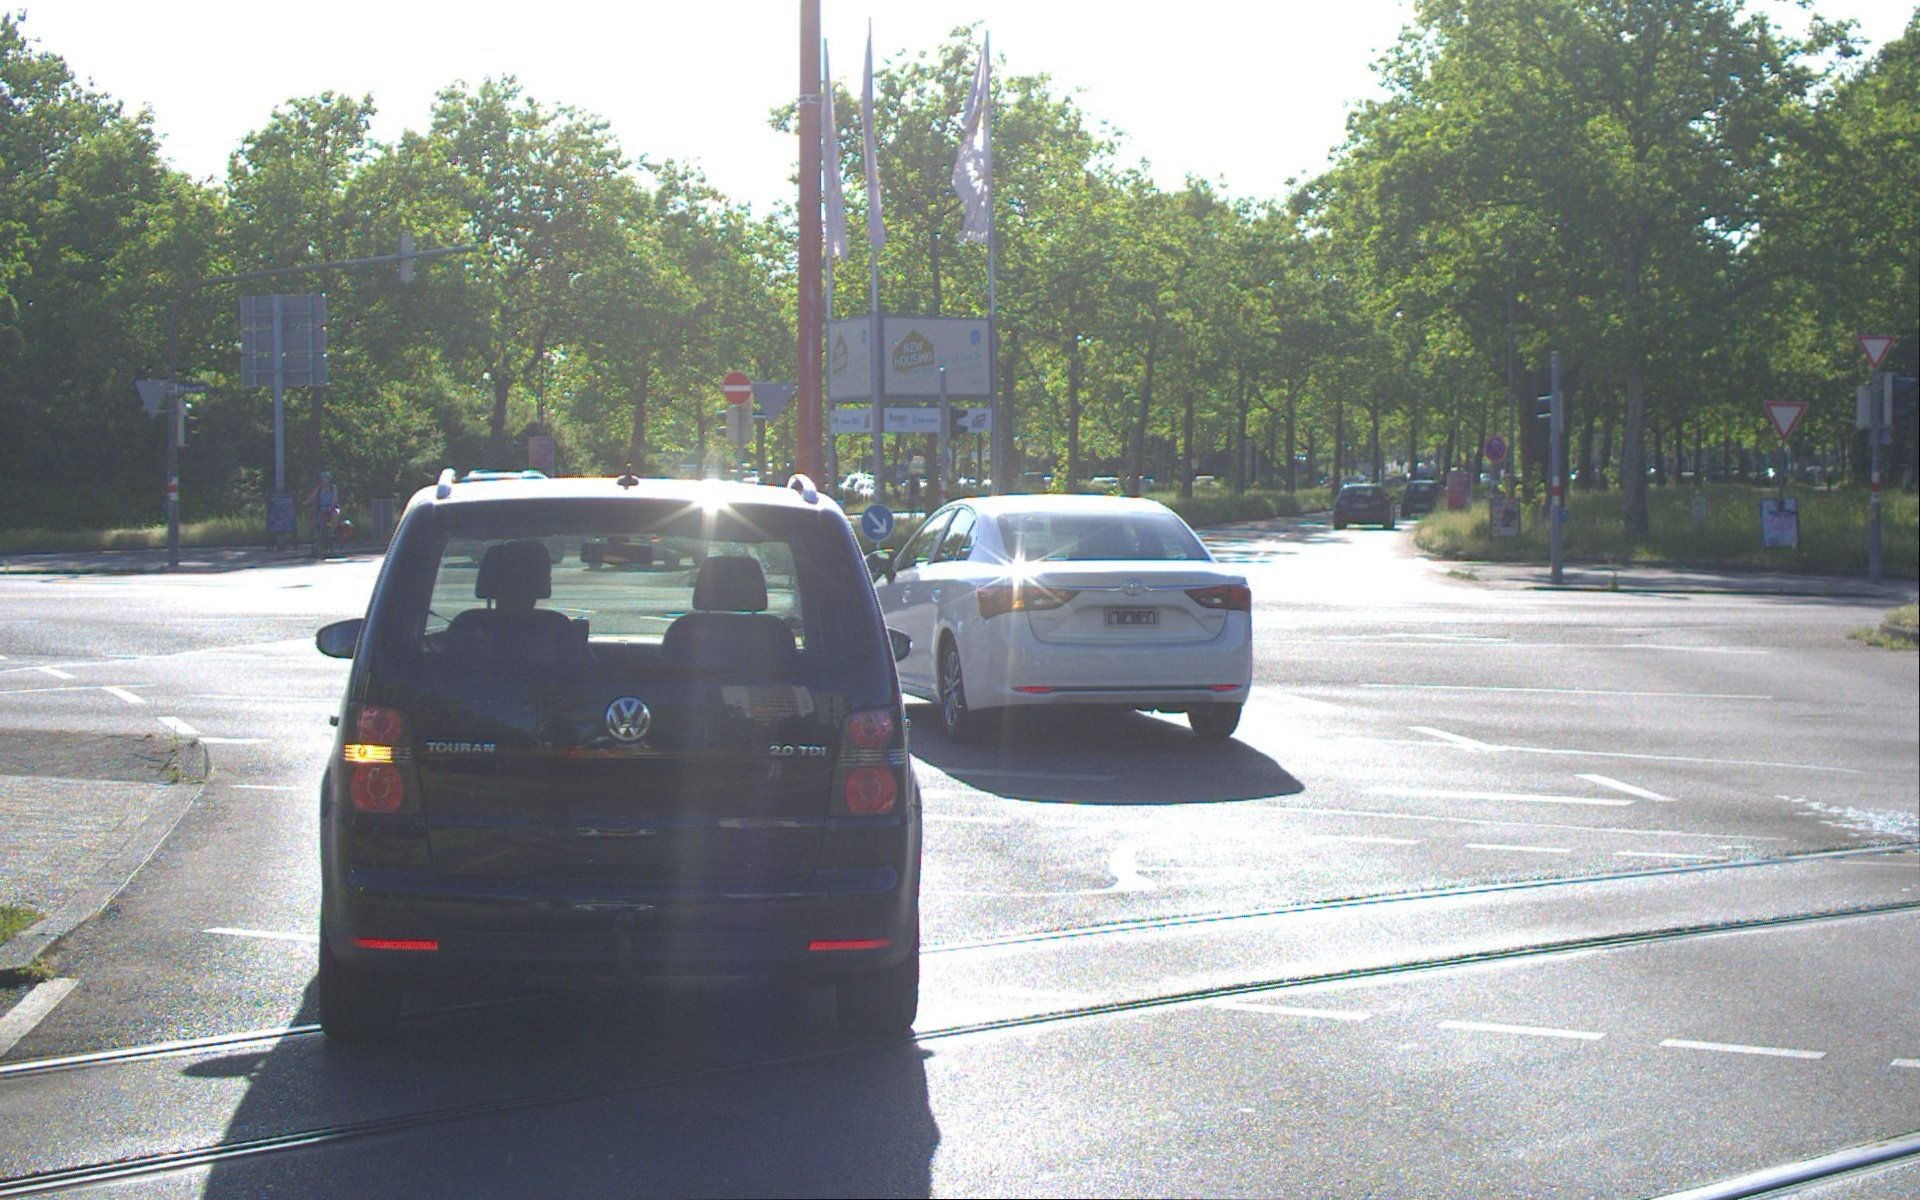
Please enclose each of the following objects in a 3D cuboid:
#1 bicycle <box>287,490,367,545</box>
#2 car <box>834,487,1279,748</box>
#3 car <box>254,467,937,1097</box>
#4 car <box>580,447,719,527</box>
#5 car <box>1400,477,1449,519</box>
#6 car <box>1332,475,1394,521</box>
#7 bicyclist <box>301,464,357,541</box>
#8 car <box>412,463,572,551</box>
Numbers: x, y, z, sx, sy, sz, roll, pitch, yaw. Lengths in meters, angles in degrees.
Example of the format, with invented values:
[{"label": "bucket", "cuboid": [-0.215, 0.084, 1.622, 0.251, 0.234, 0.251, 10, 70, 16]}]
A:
[{"label": "bicycle", "cuboid": [-12.985, -1.705, 70.593, 0.764, 1.087, 2.014, 0, 3, 17]}, {"label": "car", "cuboid": [0.484, 0.027, 21.813, 1.767, 1.459, 4.368, 0, 2, -13]}, {"label": "car", "cuboid": [-1.126, 0.383, 11.430, 1.767, 1.638, 4.924, 0, 2, -4]}, {"label": "car", "cuboid": [-6.083, -2.235, 67.717, 1.768, 1.533, 4.090, 1, 2, 9]}, {"label": "car", "cuboid": [18.793, -4.121, 139.208, 1.873, 1.621, 3.999, 2, 1, 7]}, {"label": "car", "cuboid": [12.808, -3.245, 109.149, 1.790, 1.383, 4.048, 1, 2, 9]}, {"label": "bicyclist", "cuboid": [-12.966, -2.011, 70.659, 0.759, 1.552, 0.980, 0, 3, 17]}, {"label": "car", "cuboid": [-9.471, -1.917, 69.969, 1.903, 1.720, 4.652, 1, 2, 10]}]
